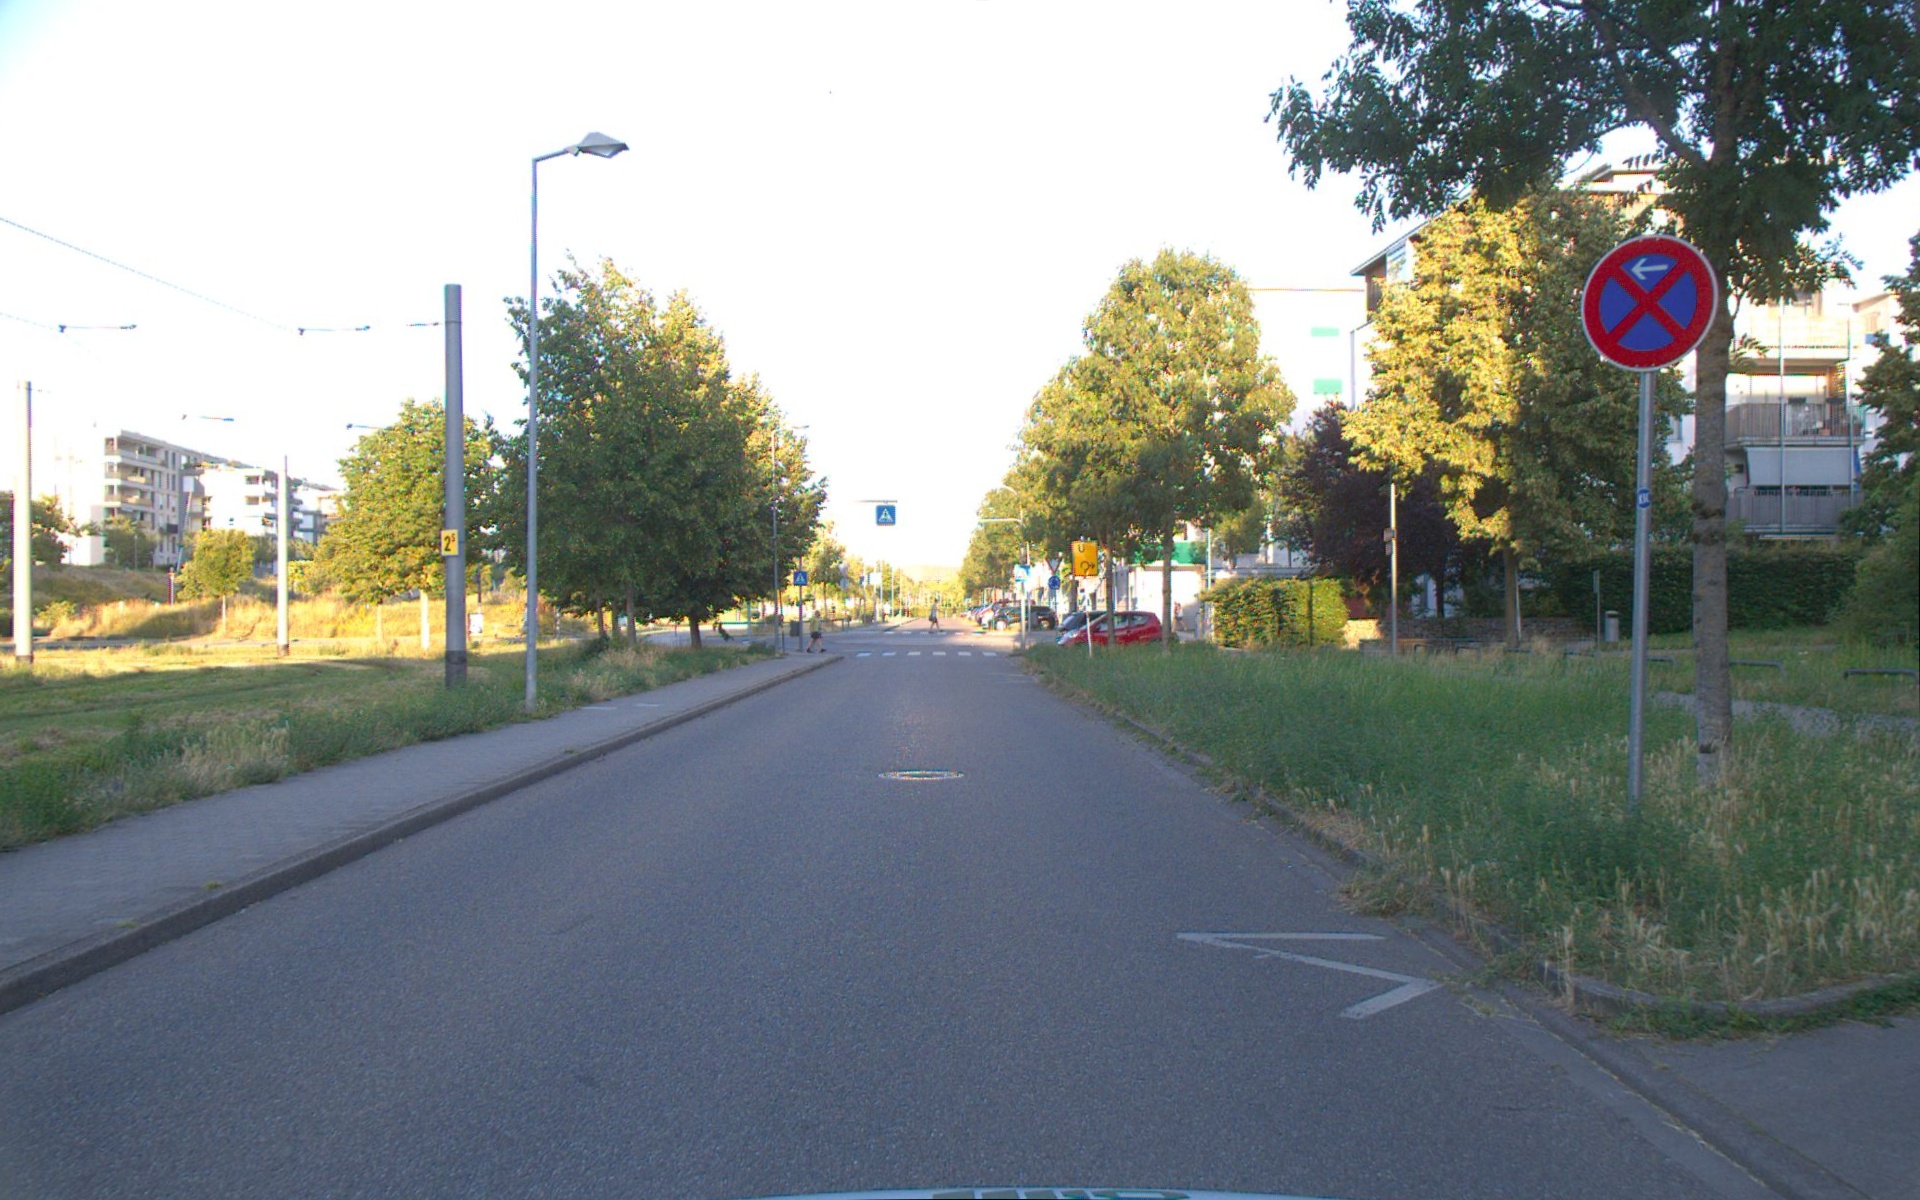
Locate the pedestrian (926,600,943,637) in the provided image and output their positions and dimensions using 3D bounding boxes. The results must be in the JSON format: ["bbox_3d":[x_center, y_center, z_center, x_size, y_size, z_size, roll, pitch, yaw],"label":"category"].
[{"bbox_3d":[-1.416,1.027,93.087,0.828,2.049,0.944,-1,-1,5],"label":"pedestrian"}]

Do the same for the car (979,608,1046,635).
[{"bbox_3d":[3.347,1.357,105.862,4.265,1.624,2.000,-1,-1,0],"label":"car"}]

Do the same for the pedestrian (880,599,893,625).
[{"bbox_3d":[-5.927,0.962,133.392,0.851,2.049,0.787,-1,-1,-11],"label":"pedestrian"}]

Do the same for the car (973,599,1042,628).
[{"bbox_3d":[3.529,1.042,123.887,4.906,2.081,2.248,-1,-1,-5],"label":"car"}]

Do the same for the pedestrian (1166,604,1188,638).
[{"bbox_3d":[11.670,1.121,88.967,0.984,1.819,0.761,1,-1,-7],"label":"pedestrian"}]

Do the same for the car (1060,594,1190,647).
[{"bbox_3d":[5.001,0.627,50.298,3.726,1.535,1.678,-1,-1,-3],"label":"car"}]

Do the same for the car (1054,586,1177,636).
[{"bbox_3d":[4.941,0.359,52.978,3.726,1.535,1.678,-1,-1,-3],"label":"car"}]

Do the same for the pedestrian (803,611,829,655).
[{"bbox_3d":[-5.816,1.317,66.640,0.966,1.723,0.698,-1,-1,-12],"label":"pedestrian"}]

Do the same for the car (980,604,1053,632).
[{"bbox_3d":[3.425,1.118,100.667,4.392,1.624,2.000,-1,-1,0],"label":"car"}]

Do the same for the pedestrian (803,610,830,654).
[{"bbox_3d":[-5.719,1.271,65.830,1.000,1.723,0.757,-1,-1,-12],"label":"pedestrian"}]

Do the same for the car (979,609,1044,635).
[{"bbox_3d":[3.348,1.450,108.590,4.176,1.624,2.000,-1,-1,0],"label":"car"}]
